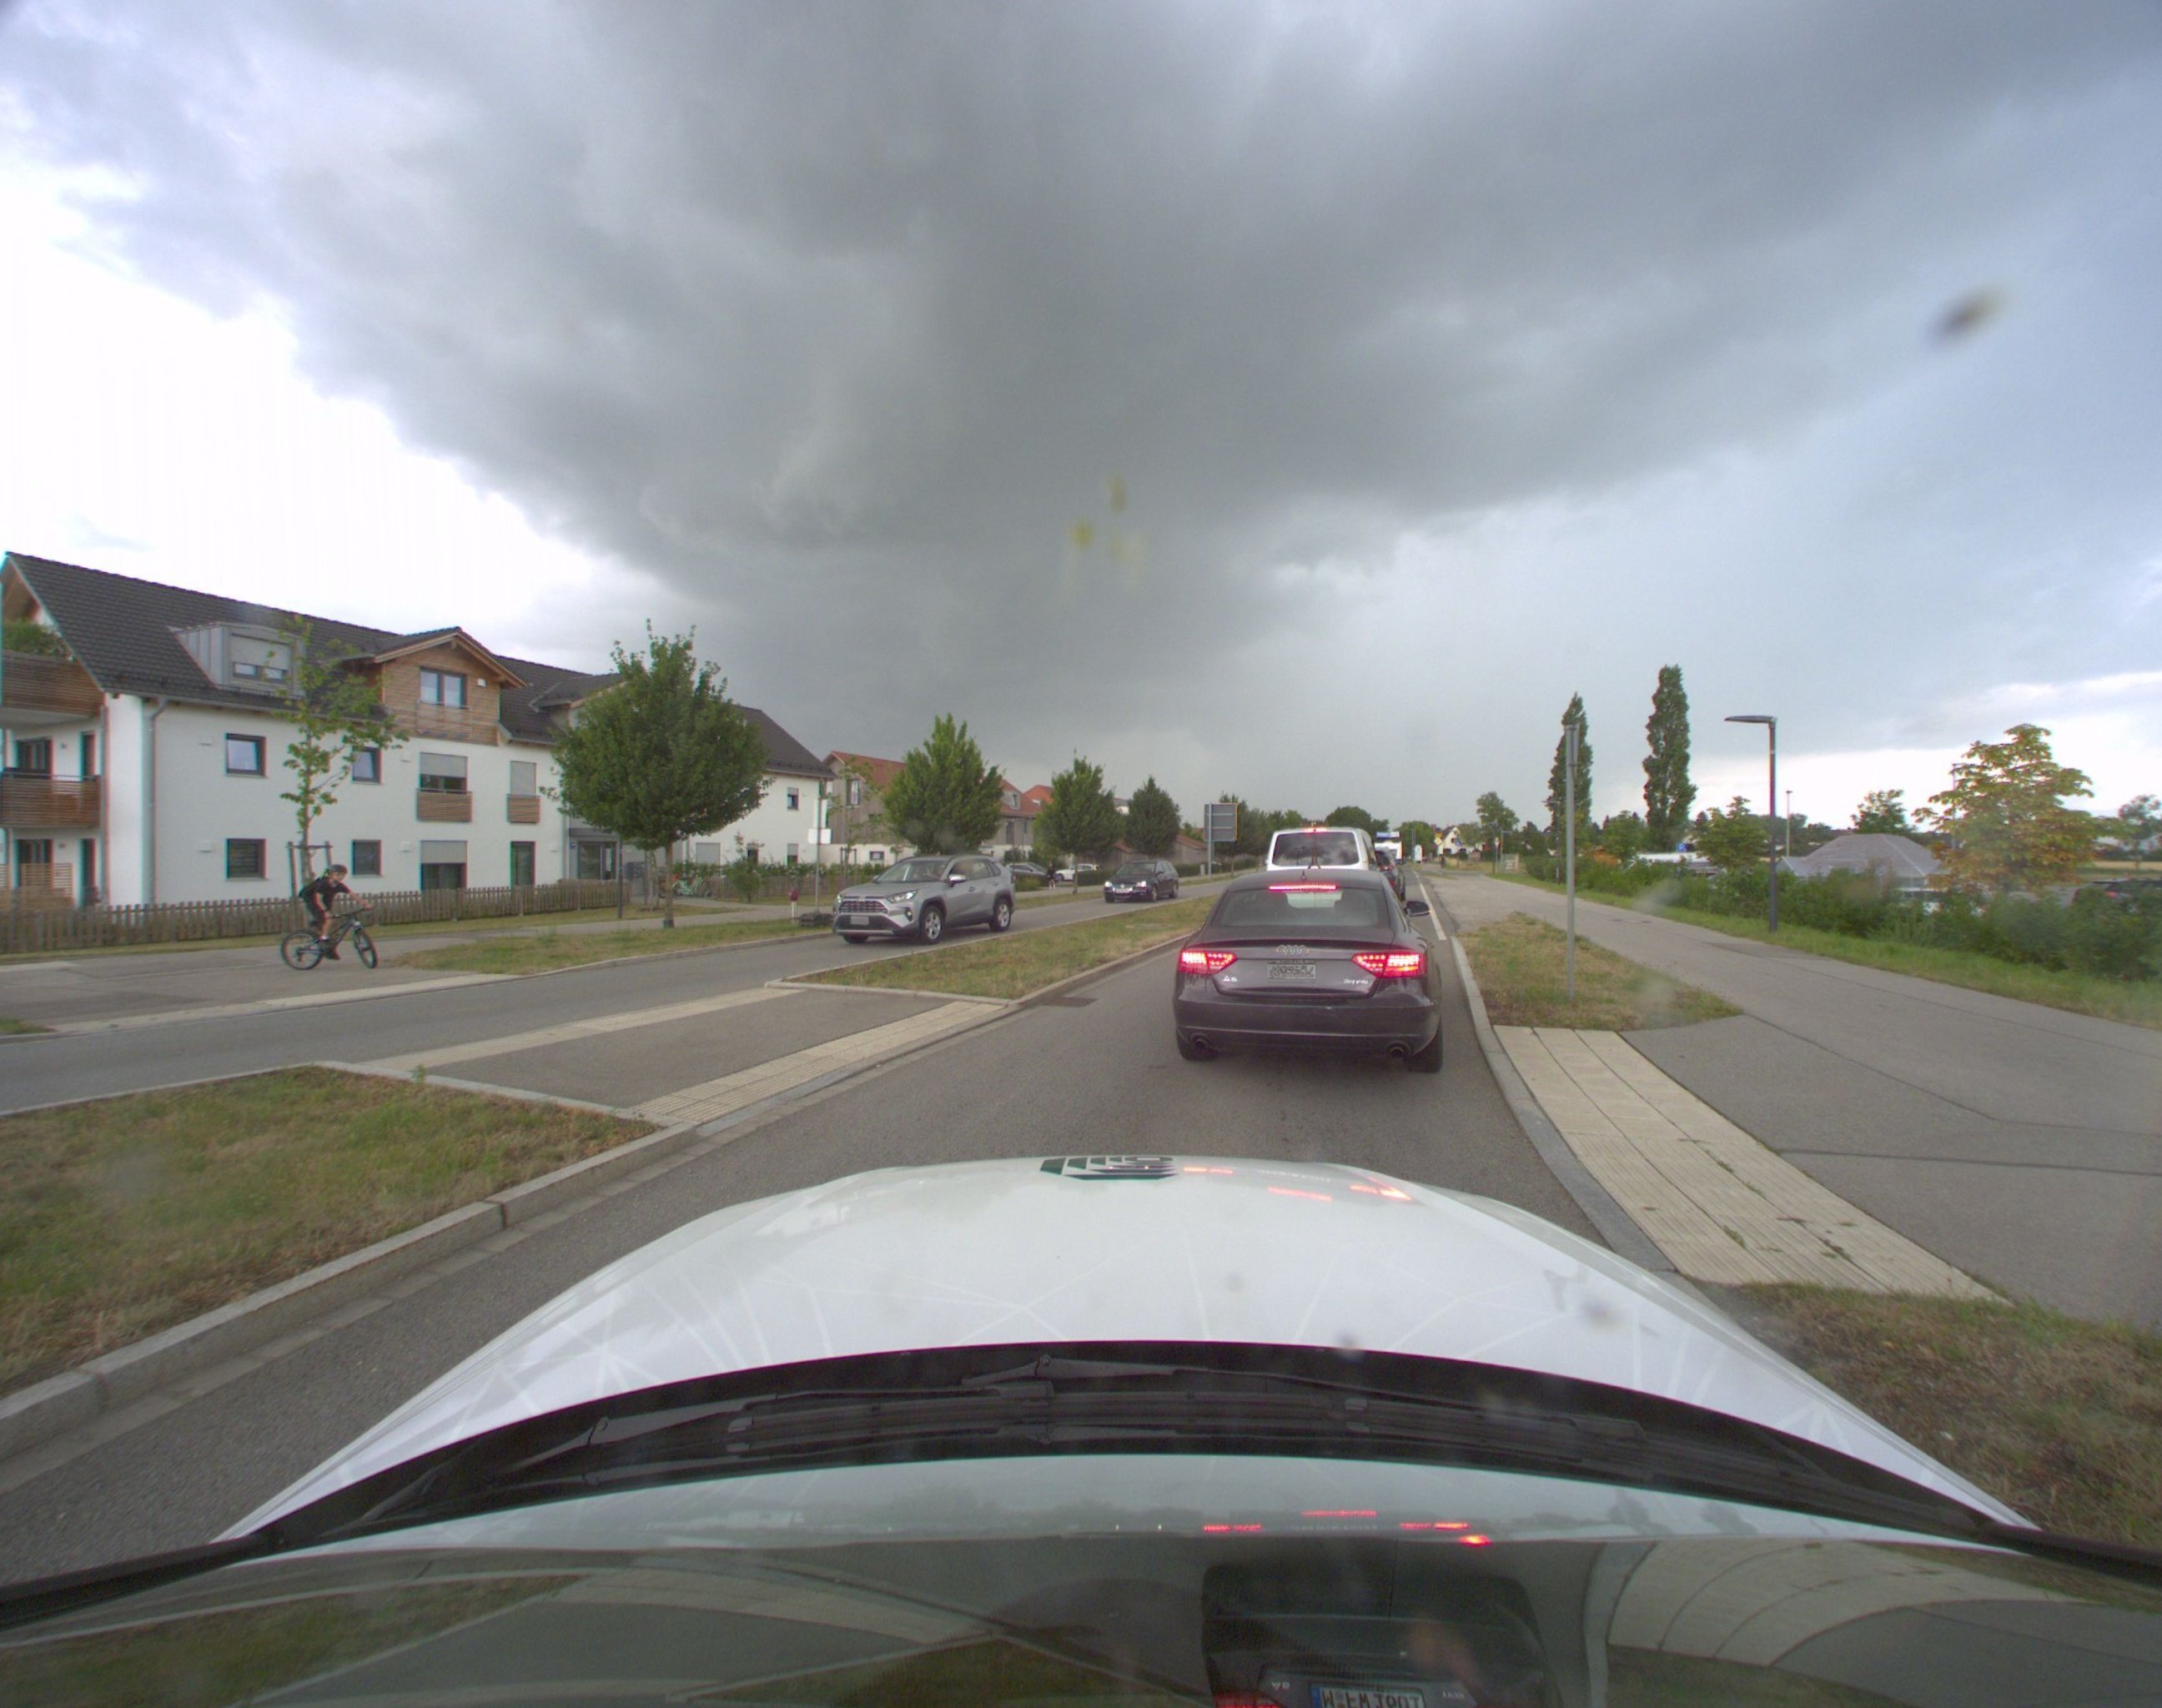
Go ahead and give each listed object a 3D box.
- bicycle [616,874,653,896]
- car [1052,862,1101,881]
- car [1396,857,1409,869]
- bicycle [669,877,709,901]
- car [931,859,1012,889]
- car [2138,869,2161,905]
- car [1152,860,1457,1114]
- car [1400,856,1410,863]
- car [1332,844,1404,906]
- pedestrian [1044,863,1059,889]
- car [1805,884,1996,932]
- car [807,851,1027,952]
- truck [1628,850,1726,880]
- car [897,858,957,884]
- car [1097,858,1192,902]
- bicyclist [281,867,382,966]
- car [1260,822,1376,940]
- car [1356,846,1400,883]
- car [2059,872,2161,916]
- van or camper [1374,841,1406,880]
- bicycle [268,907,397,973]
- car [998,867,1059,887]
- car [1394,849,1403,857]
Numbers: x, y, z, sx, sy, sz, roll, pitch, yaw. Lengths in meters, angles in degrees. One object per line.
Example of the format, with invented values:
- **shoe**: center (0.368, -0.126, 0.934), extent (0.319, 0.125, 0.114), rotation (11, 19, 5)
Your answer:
- **bicycle**: center (-18.170, 1.253, 33.156), extent (0.364, 0.843, 1.345), rotation (3, 1, 24)
- **car**: center (-0.357, 1.419, 66.449), extent (3.699, 1.482, 1.694), rotation (0, 0, 19)
- **car**: center (44.179, 1.188, 111.924), extent (1.599, 1.631, 3.635), rotation (0, 0, 23)
- **bicycle**: center (-15.551, 1.381, 32.324), extent (0.364, 0.843, 1.555), rotation (3, 1, 24)
- **car**: center (-6.671, 1.189, 49.494), extent (4.489, 1.680, 2.011), rotation (0, 0, 25)
- **car**: center (50.834, 1.509, 36.282), extent (4.274, 1.578, 1.777), rotation (0, 0, 24)
- **car**: center (1.993, 0.770, 6.868), extent (1.769, 1.391, 4.153), rotation (0, 0, 20)
- **car**: center (58.624, 0.981, 147.351), extent (1.599, 1.272, 3.480), rotation (0, 0, 23)
- **car**: center (8.362, 0.543, 23.545), extent (1.761, 1.618, 4.021), rotation (0, 0, 22)
- **pedestrian**: center (-1.803, 1.320, 49.740), extent (0.651, 1.559, 0.587), rotation (0, 0, 32)
- **car**: center (28.016, 1.815, 28.043), extent (4.196, 1.440, 2.011), rotation (0, 0, 22)
- **car**: center (-3.038, 0.808, 16.235), extent (1.976, 1.704, 4.660), rotation (-1, 0, 23)
- **truck**: center (38.517, 0.694, 52.795), extent (4.758, 1.872, 2.009), rotation (1, 0, 17)
- **car**: center (-11.109, 1.220, 59.070), extent (1.975, 1.772, 4.492), rotation (0, -1, 27)
- **car**: center (2.355, 0.870, 28.967), extent (1.737, 1.416, 4.482), rotation (-1, 0, 27)
- **bicyclist**: center (-11.422, 0.937, 12.430), extent (0.861, 1.446, 0.726), rotation (-1, 0, 8)
- **car**: center (4.626, 0.425, 15.601), extent (1.852, 1.934, 4.020), rotation (1, 1, 19)
- **car**: center (13.787, 0.482, 37.646), extent (1.761, 1.618, 4.021), rotation (-1, -1, 22)
- **car**: center (43.017, 1.587, 32.620), extent (4.517, 1.664, 2.011), rotation (0, 0, 22)
- **van or camper**: center (28.179, 0.609, 74.208), extent (2.602, 3.324, 6.856), rotation (0, -1, 21)
- **bicycle**: center (-11.401, 1.306, 12.417), extent (1.697, 0.946, 0.499), rotation (-1, -1, 9)
- **car**: center (-3.705, 1.612, 57.361), extent (3.882, 1.315, 1.852), rotation (0, 0, 19)
- **car**: center (83.618, -0.234, 214.547), extent (1.975, 2.211, 4.023), rotation (0, 0, 26)
